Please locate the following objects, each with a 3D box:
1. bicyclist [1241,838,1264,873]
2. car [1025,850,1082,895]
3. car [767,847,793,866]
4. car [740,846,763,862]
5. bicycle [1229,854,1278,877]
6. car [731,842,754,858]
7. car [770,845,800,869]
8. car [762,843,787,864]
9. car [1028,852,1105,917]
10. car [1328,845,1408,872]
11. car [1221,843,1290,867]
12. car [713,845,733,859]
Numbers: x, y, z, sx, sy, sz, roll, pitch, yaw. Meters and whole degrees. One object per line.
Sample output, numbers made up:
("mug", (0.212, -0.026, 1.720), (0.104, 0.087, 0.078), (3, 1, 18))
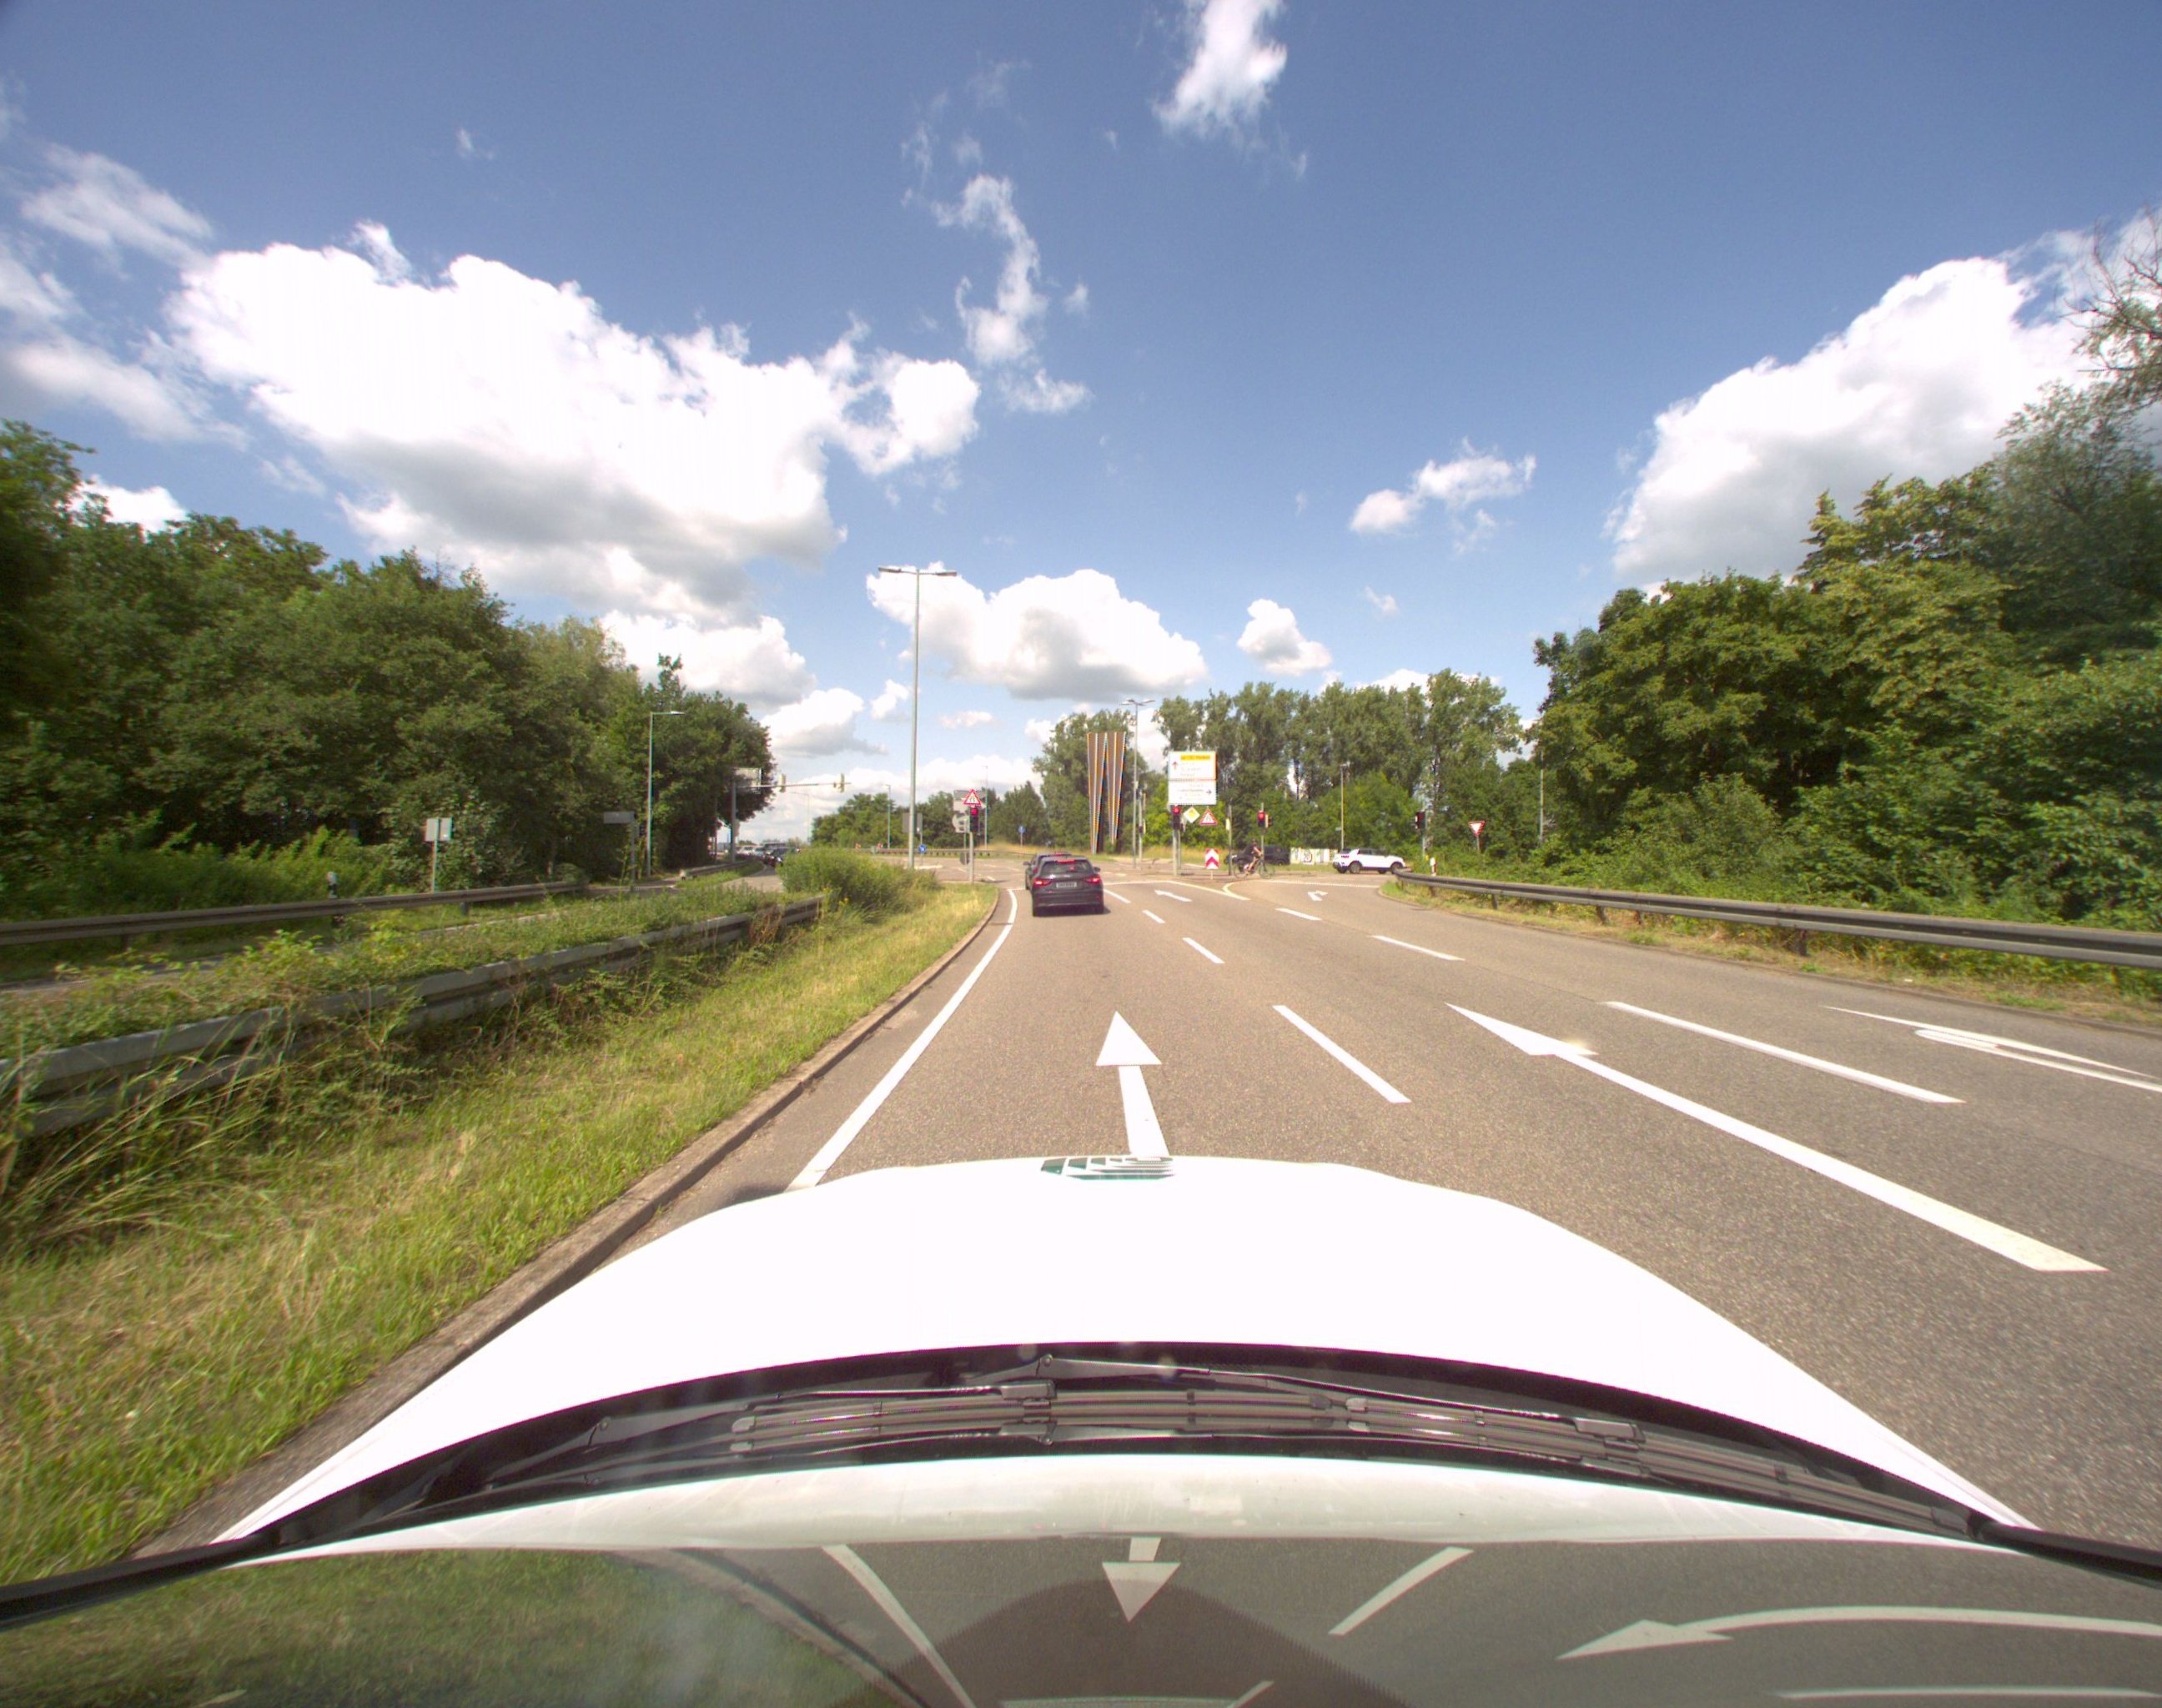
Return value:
("bicyclist", (7.718, 0.057, 36.611), (0.834, 1.560, 0.670), (0, 0, -9))
("car", (-1.057, 0.625, 29.590), (1.724, 1.423, 3.836), (-3, 1, -6))
("car", (-24.583, 0.192, 66.454), (1.739, 1.476, 4.016), (-1, 0, -23))
("car", (-34.942, -0.018, 86.293), (1.854, 1.705, 4.287), (-1, 0, -28))
("bicycle", (7.774, 0.498, 36.681), (2.054, 1.023, 0.669), (0, 0, -12))
("car", (-38.613, -0.431, 92.851), (1.855, 1.705, 4.284), (-1, 0, -31))
("car", (-21.499, 0.220, 59.008), (1.847, 1.618, 3.969), (-1, -1, -23))
("car", (-27.384, -0.070, 72.674), (1.851, 1.802, 4.293), (-1, 0, -23))
("car", (-0.404, 0.695, 20.773), (1.722, 1.404, 3.997), (-2, 1, -2))
("car", (16.759, 0.278, 47.611), (4.031, 1.476, 1.732), (1, 0, -8))
("car", (11.693, 0.079, 54.802), (4.259, 1.545, 1.735), (-1, 0, -4))
("car", (-45.084, -0.281, 102.545), (1.855, 1.705, 4.285), (-1, 0, -30))
